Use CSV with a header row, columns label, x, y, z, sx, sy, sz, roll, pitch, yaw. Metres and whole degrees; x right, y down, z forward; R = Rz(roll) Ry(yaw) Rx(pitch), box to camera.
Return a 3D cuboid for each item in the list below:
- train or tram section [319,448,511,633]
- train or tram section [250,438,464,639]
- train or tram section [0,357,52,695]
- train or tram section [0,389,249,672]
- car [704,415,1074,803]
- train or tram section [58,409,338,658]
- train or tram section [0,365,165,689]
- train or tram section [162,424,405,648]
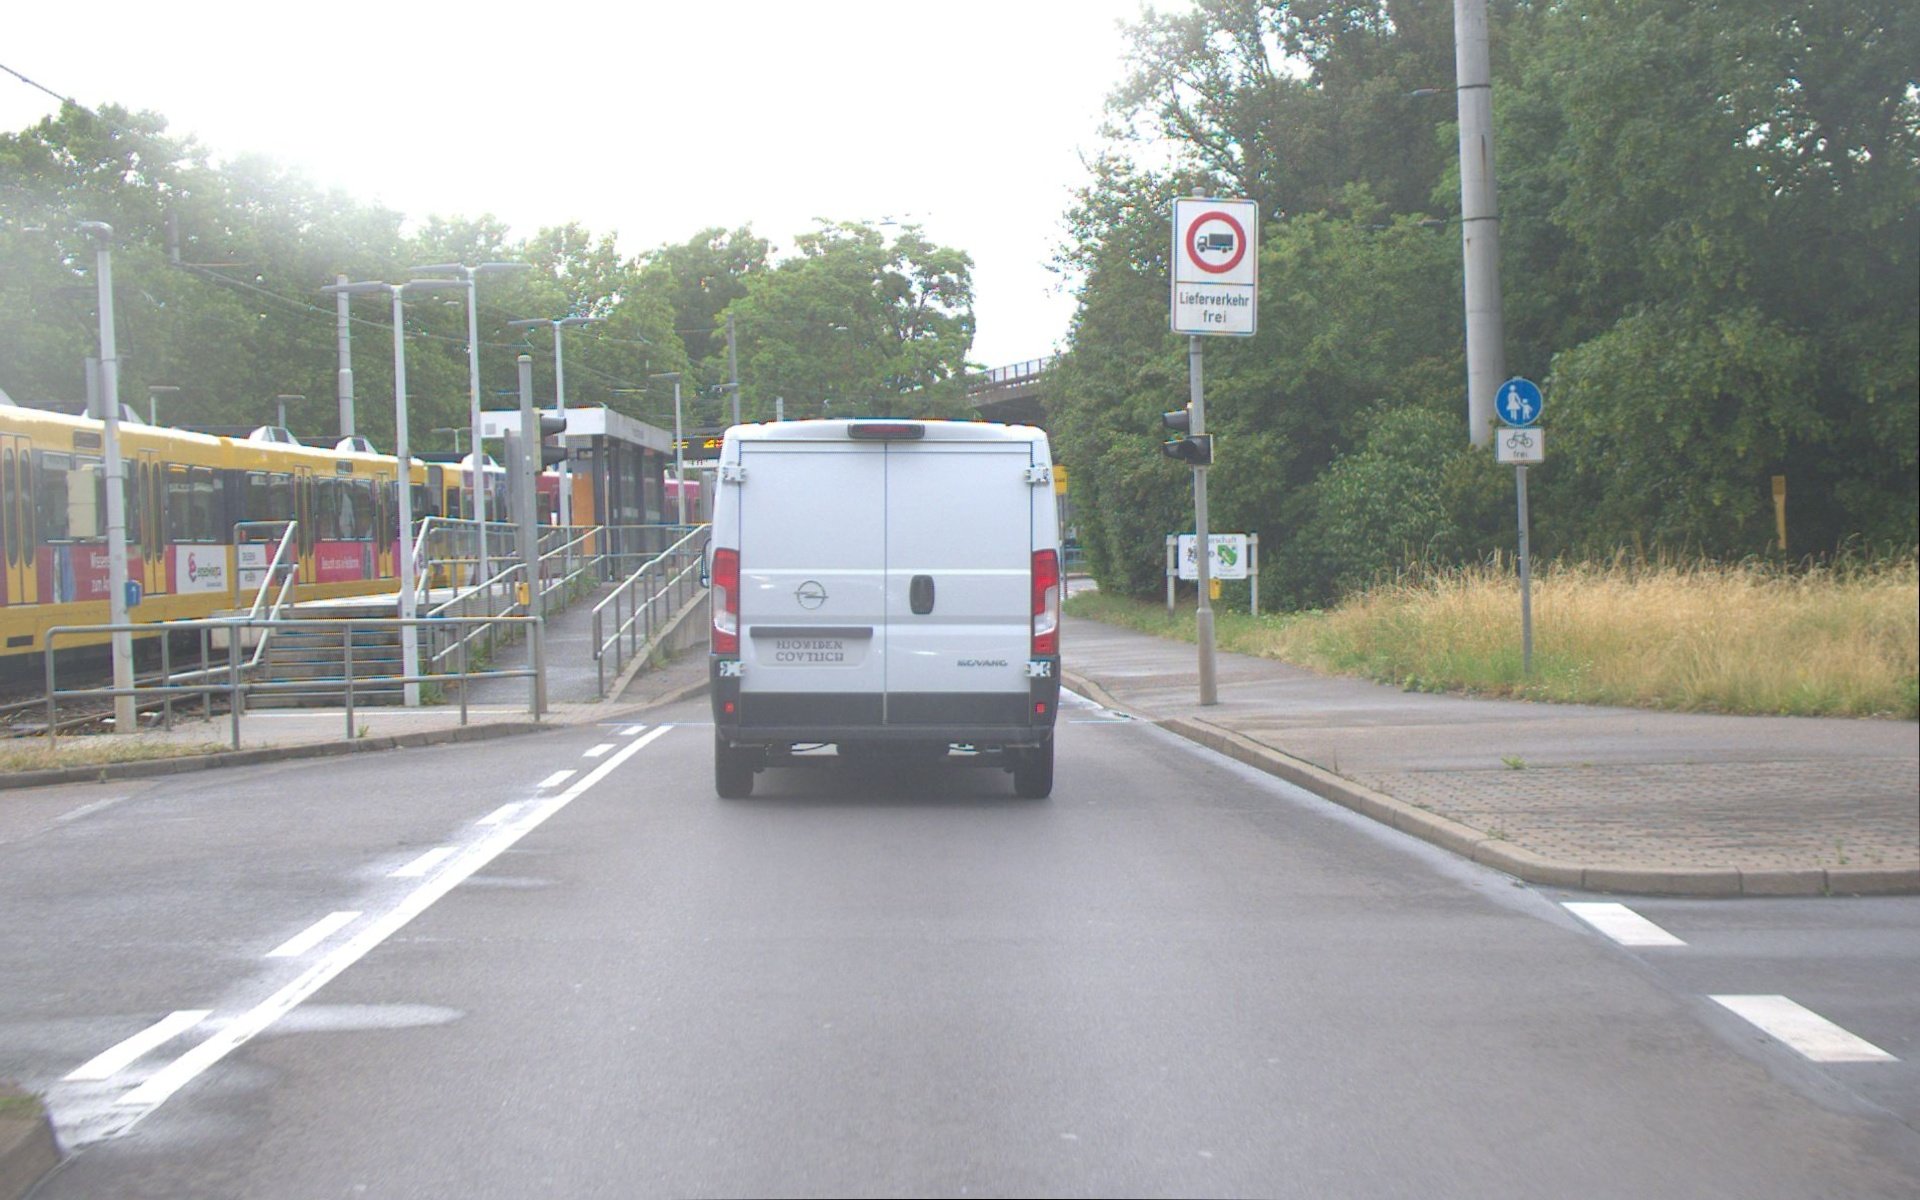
label,x,y,z,sx,sy,sz,roll,pitch,yaw
train or tram section,-12.134,-1.319,77.154,2.928,3.919,7.005,1,1,2
train or tram section,-12.339,-1.247,70.918,2.928,3.919,7.005,1,1,2
train or tram section,-12.578,-0.863,38.713,2.928,3.919,7.006,1,1,-1
train or tram section,-12.800,-1.019,51.473,2.928,3.919,7.006,1,1,-1
car,-0.524,0.001,21.981,2.090,2.189,5.062,0,1,-3
train or tram section,-12.734,-1.098,58.105,2.928,3.919,7.005,1,1,2
train or tram section,-12.689,-0.943,45.228,2.928,3.919,7.006,1,1,-1
train or tram section,-12.540,-1.170,64.335,2.928,3.919,7.005,1,1,2
